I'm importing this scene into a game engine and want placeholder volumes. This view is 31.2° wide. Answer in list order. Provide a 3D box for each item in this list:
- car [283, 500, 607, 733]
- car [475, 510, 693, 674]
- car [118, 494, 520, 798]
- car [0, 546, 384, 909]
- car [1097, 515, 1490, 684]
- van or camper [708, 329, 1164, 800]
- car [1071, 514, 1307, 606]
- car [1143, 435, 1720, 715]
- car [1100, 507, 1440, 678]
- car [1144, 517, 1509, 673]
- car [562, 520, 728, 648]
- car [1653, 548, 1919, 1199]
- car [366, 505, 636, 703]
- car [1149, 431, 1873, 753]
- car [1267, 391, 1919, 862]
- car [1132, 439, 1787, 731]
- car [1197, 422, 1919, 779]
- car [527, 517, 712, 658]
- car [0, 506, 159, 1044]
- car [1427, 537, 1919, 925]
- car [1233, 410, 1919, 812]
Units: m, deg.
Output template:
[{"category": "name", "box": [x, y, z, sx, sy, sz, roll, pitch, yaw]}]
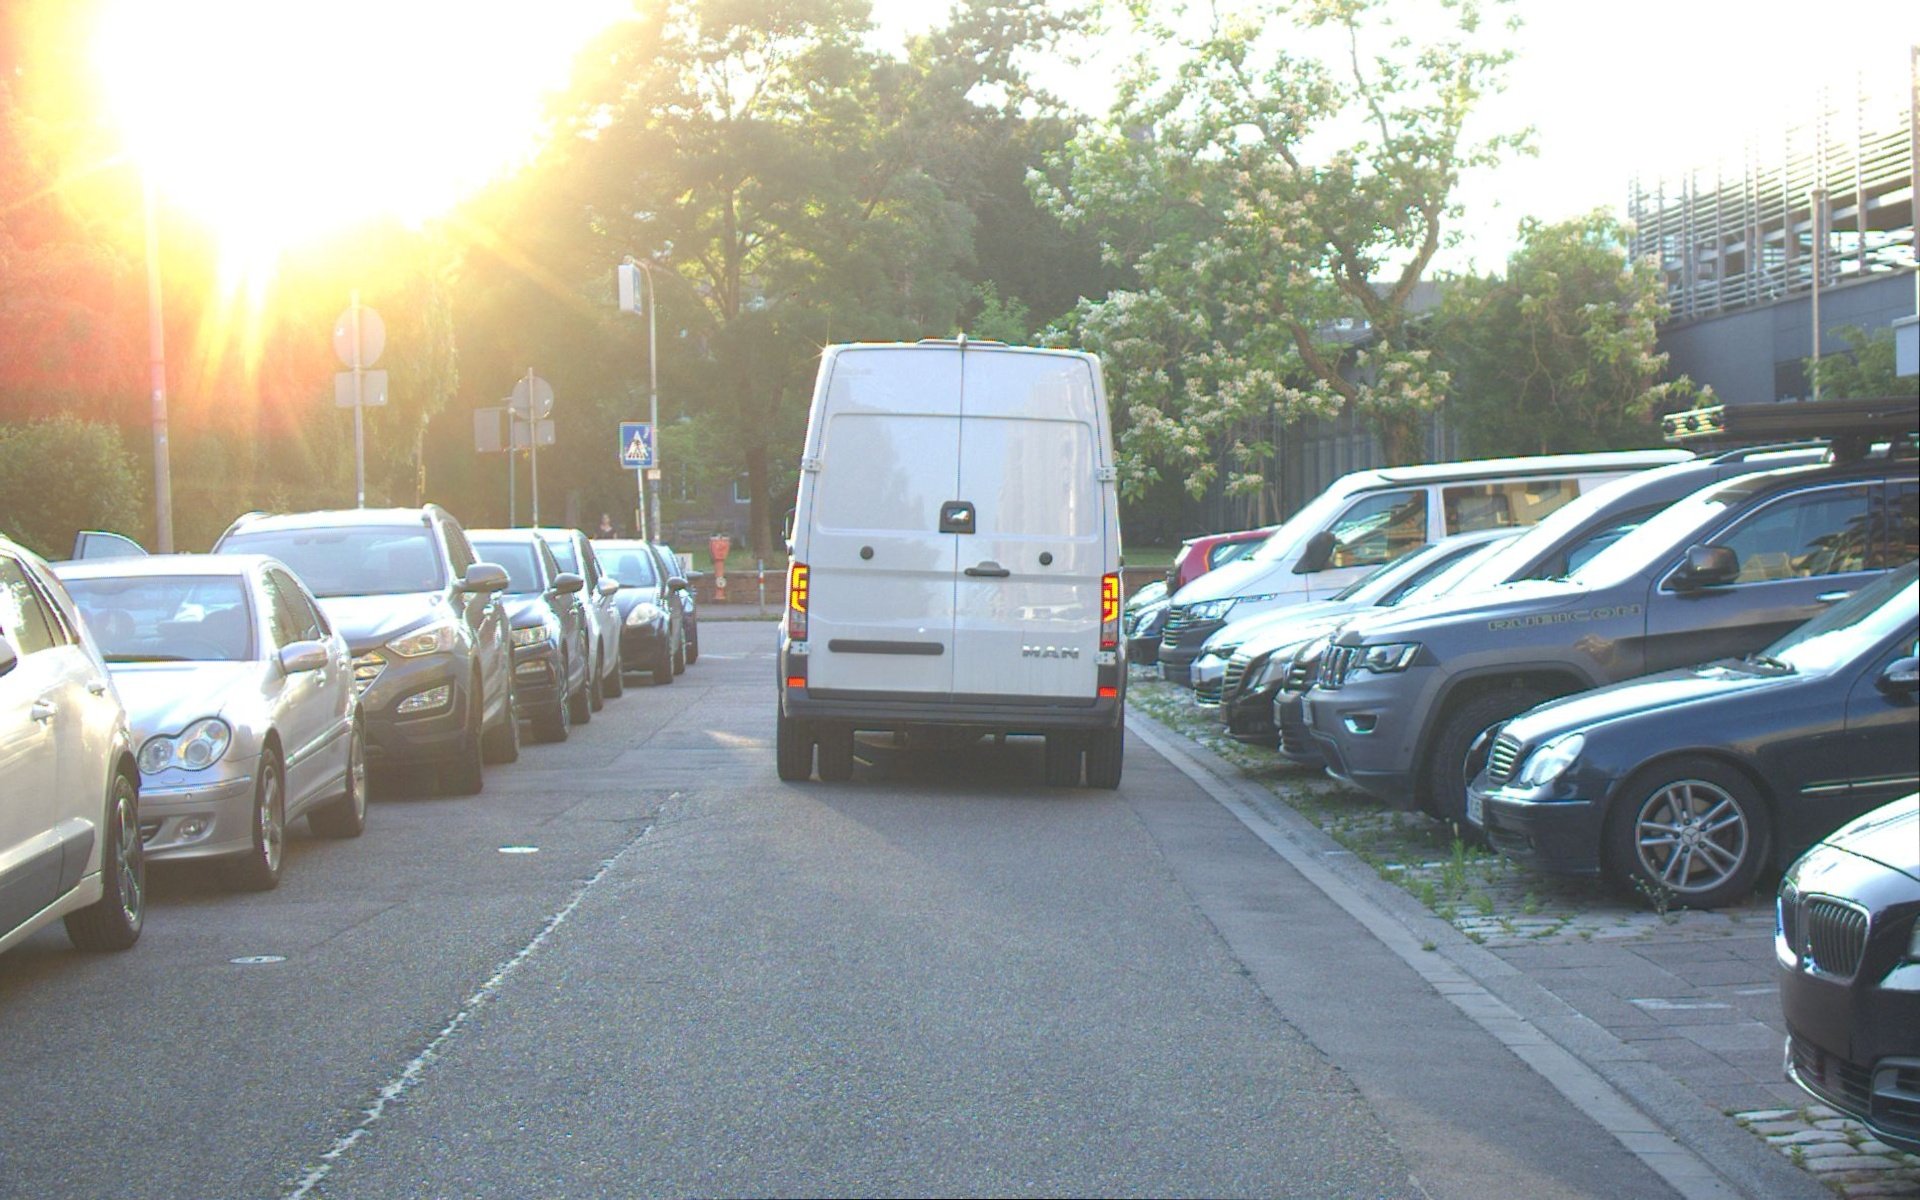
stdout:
[{"category": "car", "box": [-3.794, 0.070, 25.978, 1.993, 1.612, 4.001, 0, 1, -2]}, {"category": "car", "box": [-3.876, -0.125, 36.009, 1.993, 1.612, 4.001, 0, 1, -2]}, {"category": "car", "box": [-3.754, 0.209, 20.772, 1.993, 1.656, 4.001, 0, 1, -5]}, {"category": "car", "box": [-3.901, 0.472, 15.542, 1.993, 1.393, 4.000, 0, 1, -1]}, {"category": "car", "box": [3.497, -0.025, 36.653, 3.987, 1.722, 2.000, 1, 1, 0]}, {"category": "van or camper", "box": [-0.042, -0.267, 22.003, 2.454, 2.538, 6.083, 1, 1, 2]}, {"category": "car", "box": [4.095, -0.731, 61.963, 3.986, 1.612, 2.000, 0, 1, -4]}, {"category": "car", "box": [3.866, -0.222, 28.780, 4.495, 2.223, 2.032, 0, 1, -1]}, {"category": "car", "box": [3.733, -0.109, 42.013, 3.987, 2.007, 2.000, 0, 1, 1]}, {"category": "car", "box": [4.174, -0.080, 39.694, 3.987, 1.722, 2.000, 1, 1, 0]}, {"category": "car", "box": [-4.141, -0.251, 45.743, 1.993, 1.612, 4.001, 0, 1, -2]}, {"category": "car", "box": [3.747, 0.547, 7.448, 3.986, 1.449, 1.836, -3, 1, -4]}, {"category": "car", "box": [-3.965, -0.013, 30.289, 1.993, 1.612, 4.001, 0, 1, -2]}, {"category": "car", "box": [3.770, -0.074, 24.150, 4.705, 2.138, 2.000, 0, 1, -2]}, {"category": "car", "box": [3.978, 0.106, 16.785, 4.705, 2.138, 2.000, 0, 1, -2]}, {"category": "car", "box": [3.773, -0.133, 26.596, 4.705, 2.138, 2.000, 0, 1, -2]}, {"category": "car", "box": [3.967, -0.016, 21.919, 4.705, 2.138, 2.000, 0, 1, -2]}, {"category": "car", "box": [-4.059, -0.193, 41.520, 1.993, 1.612, 4.001, 0, 1, -2]}, {"category": "car", "box": [-3.753, 0.522, 10.454, 1.855, 1.549, 4.100, -2, 1, -4]}, {"category": "car", "box": [4.195, 0.454, 14.177, 4.236, 1.420, 1.719, -2, 1, -1]}, {"category": "car", "box": [4.015, 0.043, 19.493, 4.705, 2.138, 2.000, 0, 1, -2]}]
